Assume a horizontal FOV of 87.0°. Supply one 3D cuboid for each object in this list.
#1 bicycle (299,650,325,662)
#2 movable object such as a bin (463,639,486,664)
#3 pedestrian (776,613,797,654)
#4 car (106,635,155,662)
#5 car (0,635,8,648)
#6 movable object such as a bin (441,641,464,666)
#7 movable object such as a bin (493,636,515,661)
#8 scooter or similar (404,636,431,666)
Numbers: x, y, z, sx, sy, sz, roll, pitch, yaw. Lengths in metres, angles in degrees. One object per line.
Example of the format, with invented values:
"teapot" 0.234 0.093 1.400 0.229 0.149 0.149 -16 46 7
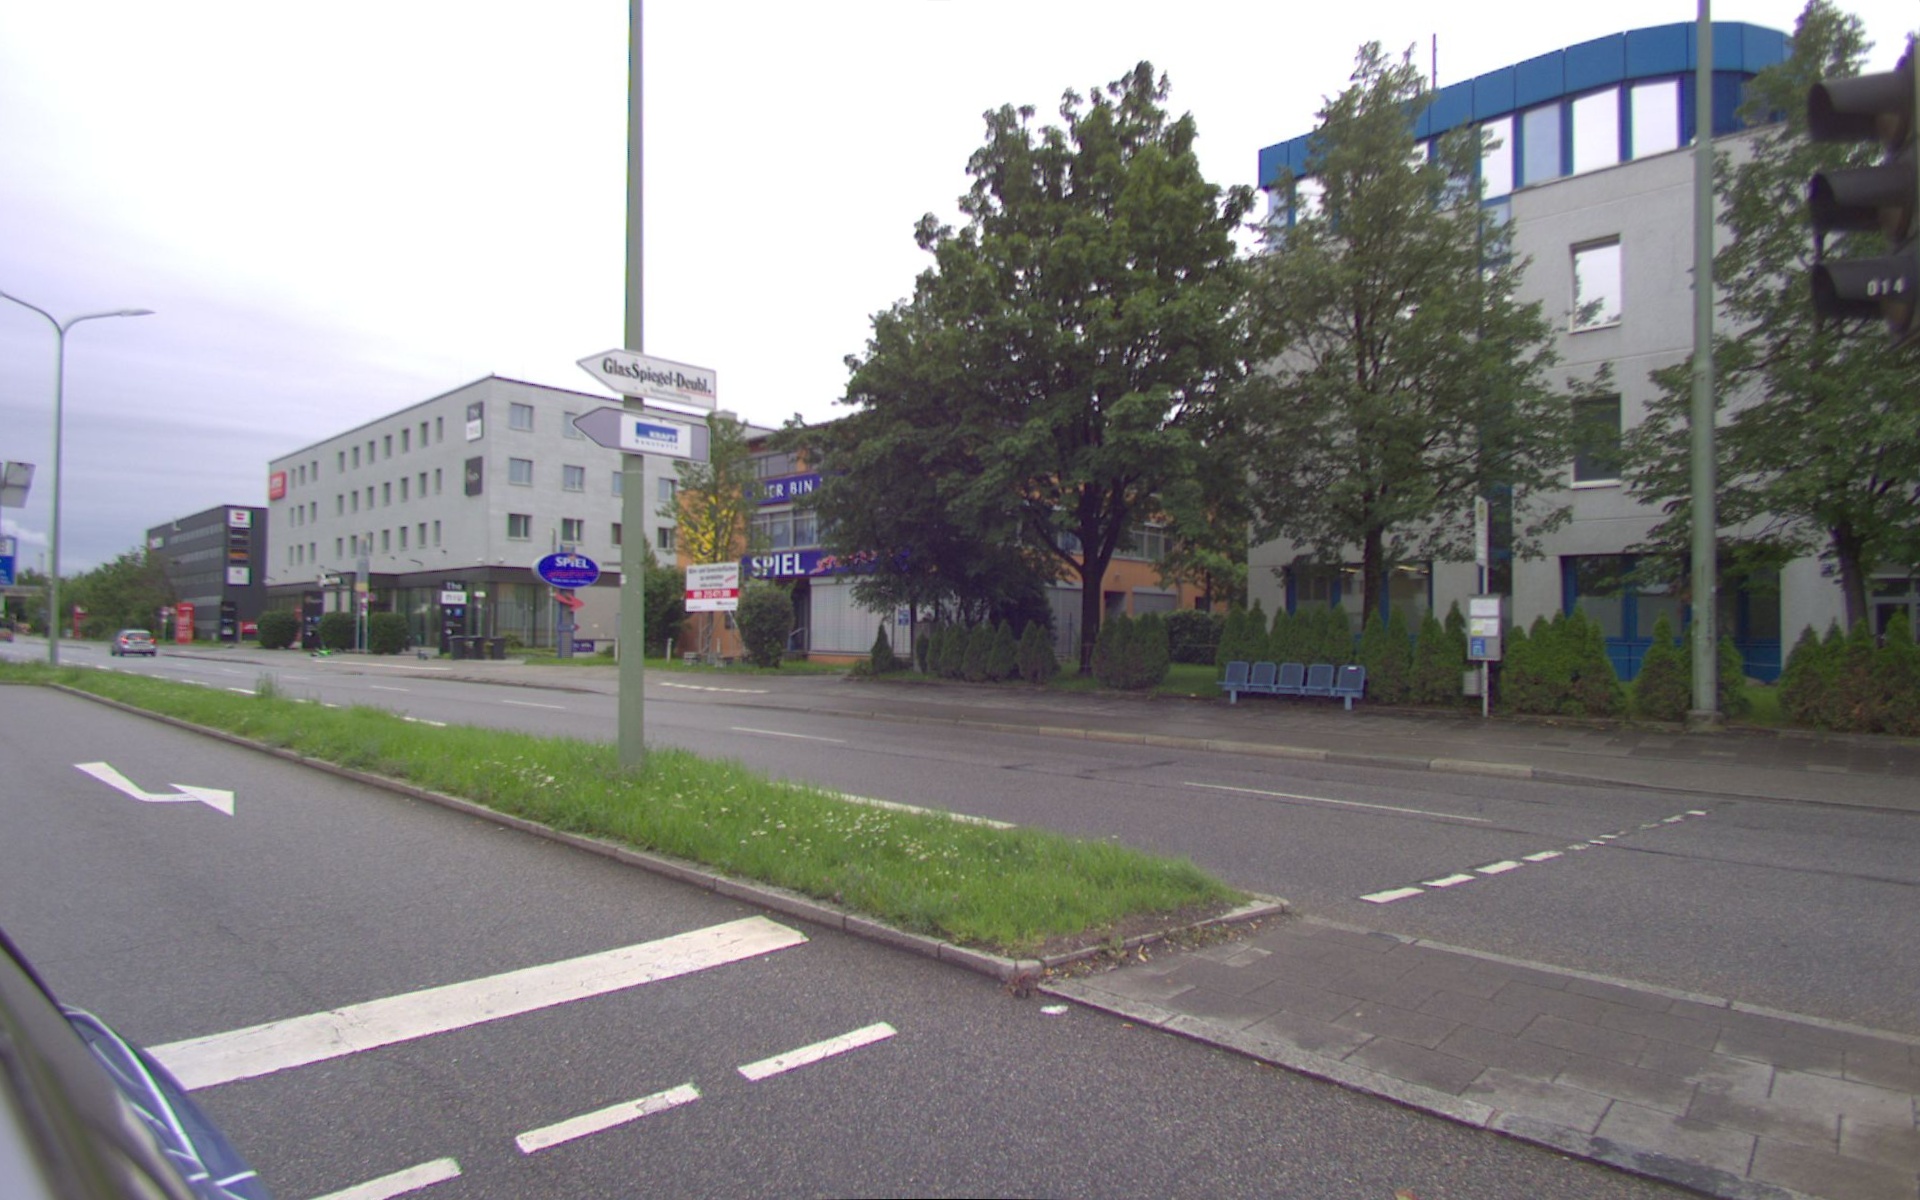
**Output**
"bicycle" -33.503 2.898 52.332 1.732 0.553 0.712 -2 1 42
"movable object such as a bin" -21.619 2.305 45.068 0.655 1.086 0.729 -2 -2 42
"pedestrian" -7.301 1.395 42.491 0.649 1.725 0.664 0 -1 -34
"car" -51.111 2.972 62.319 4.027 1.569 1.794 -2 -4 44
"car" -115.300 4.909 121.005 4.303 1.560 1.717 -2 -4 42
"movable object such as a bin" -22.564 2.366 45.026 0.655 1.086 0.729 -2 -2 42
"movable object such as a bin" -20.810 2.213 46.221 0.655 1.086 0.729 -2 -2 42
"scooter or similar" -24.674 2.308 46.053 1.403 1.287 0.579 -2 2 43
